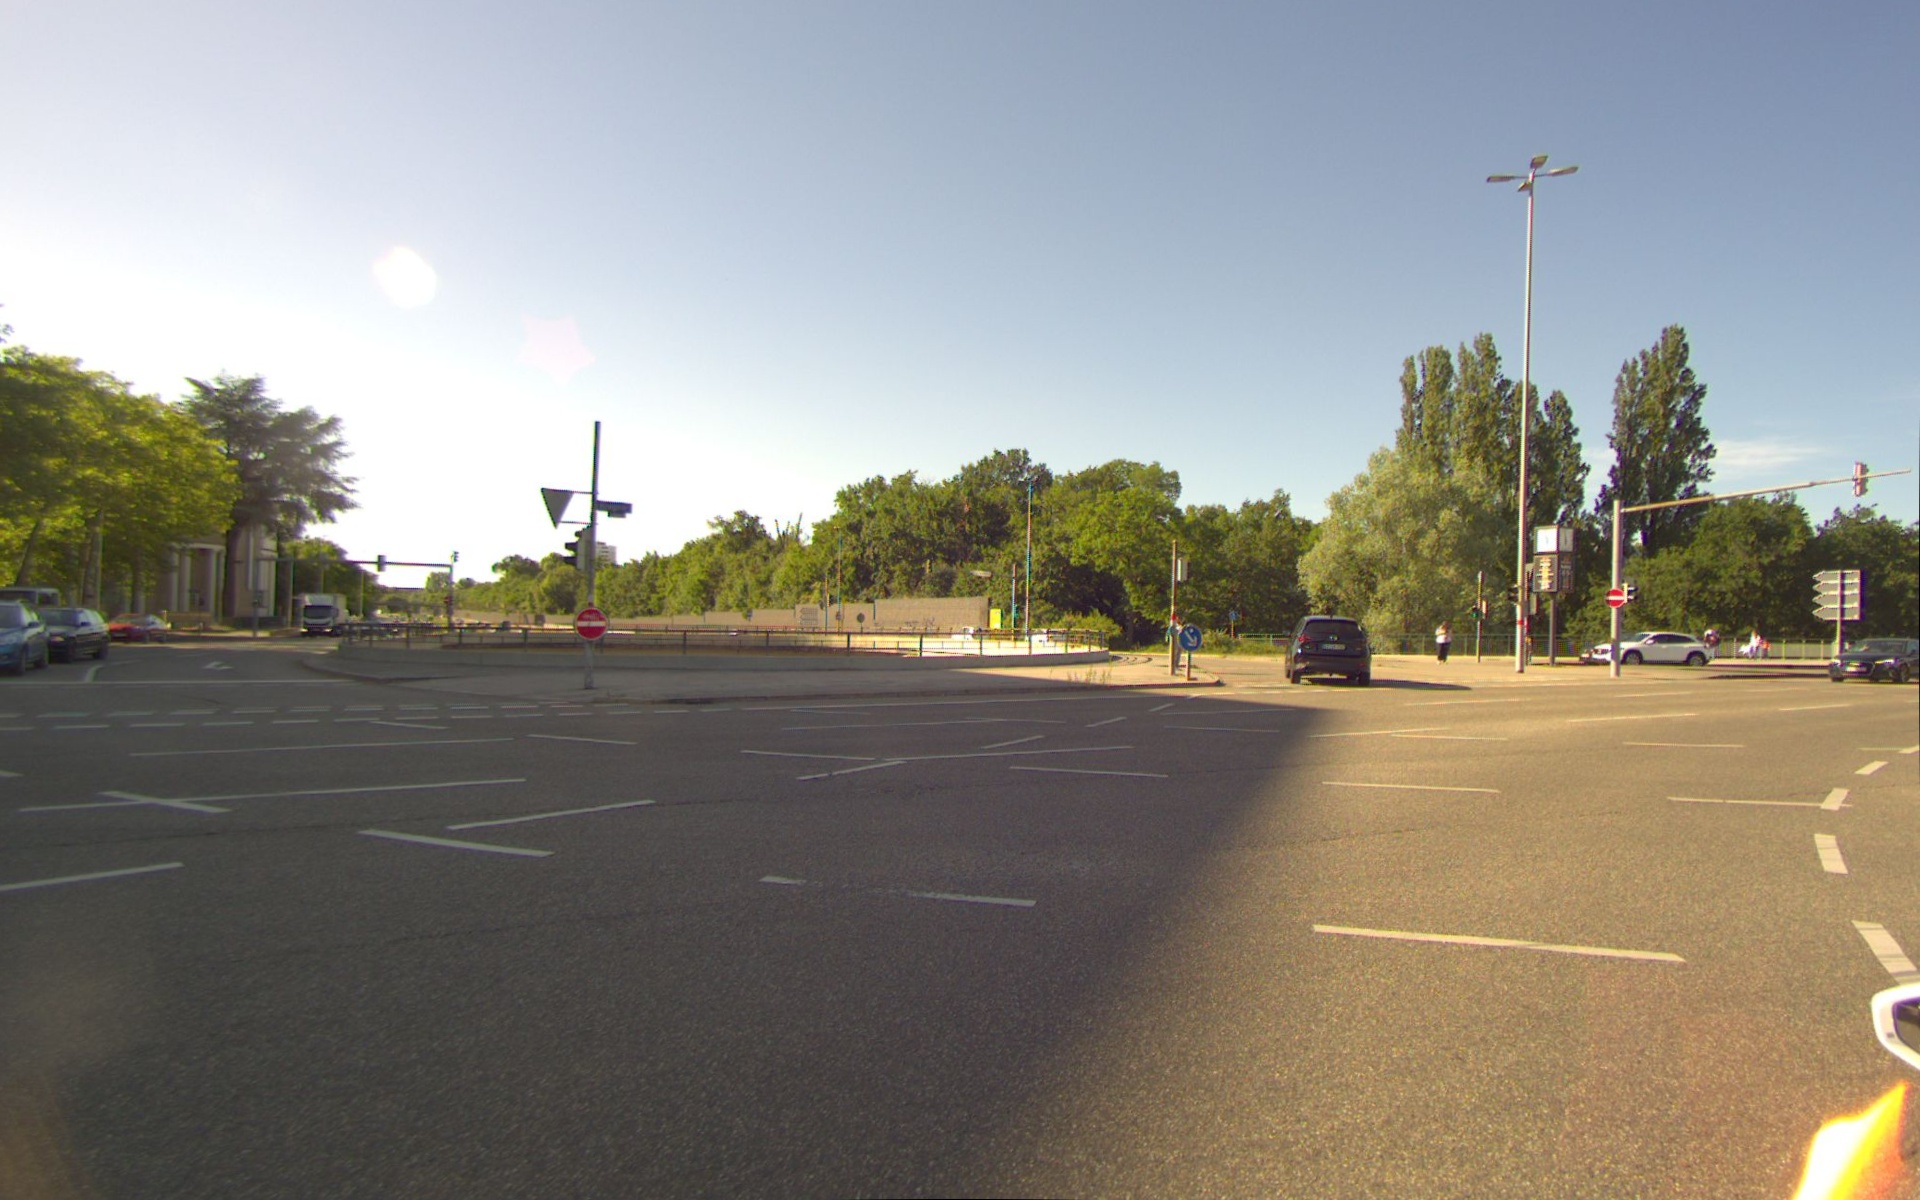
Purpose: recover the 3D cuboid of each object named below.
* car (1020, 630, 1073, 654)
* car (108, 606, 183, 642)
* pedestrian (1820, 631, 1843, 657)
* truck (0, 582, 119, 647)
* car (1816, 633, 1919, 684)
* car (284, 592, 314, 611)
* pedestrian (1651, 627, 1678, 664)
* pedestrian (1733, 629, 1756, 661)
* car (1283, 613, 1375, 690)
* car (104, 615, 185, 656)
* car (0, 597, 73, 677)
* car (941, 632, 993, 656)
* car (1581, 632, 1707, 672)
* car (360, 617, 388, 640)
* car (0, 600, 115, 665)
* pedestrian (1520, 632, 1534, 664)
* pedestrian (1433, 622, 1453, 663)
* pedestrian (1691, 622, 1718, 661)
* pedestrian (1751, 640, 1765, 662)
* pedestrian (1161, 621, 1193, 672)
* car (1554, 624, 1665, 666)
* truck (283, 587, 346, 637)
[{"bbox_3d":[5.390,2.596,63.089,1.759,1.433,4.300,2,-2,-19],"label":"car"},{"bbox_3d":[-40.803,1.179,50.440,1.789,1.722,4.173,2,-1,-23],"label":"car"},{"bbox_3d":[52.519,2.663,60.510,0.765,1.522,0.671,4,-1,-9],"label":"pedestrian"},{"bbox_3d":[-37.204,0.547,40.760,2.131,2.391,7.482,2,-1,-19],"label":"truck"},{"bbox_3d":[29.150,1.810,31.840,3.955,1.527,1.927,2,-2,-31],"label":"car"},{"bbox_3d":[-62.235,0.099,94.574,1.801,1.722,4.147,2,-1,-41],"label":"car"},{"bbox_3d":[38.277,2.452,54.582,0.777,1.942,0.834,4,-1,-24],"label":"pedestrian"},{"bbox_3d":[43.262,2.471,55.399,0.663,1.663,0.718,4,-1,-23],"label":"pedestrian"},{"bbox_3d":[9.246,1.243,25.462,1.842,1.731,4.198,1,-1,16],"label":"car"},{"bbox_3d":[-29.341,1.251,36.248,1.766,1.353,4.047,2,-1,-32],"label":"car"},{"bbox_3d":[-20.570,0.723,21.260,1.930,1.561,4.419,2,-1,-32],"label":"car"},{"bbox_3d":[0.431,2.967,68.290,1.974,1.528,3.973,1,-1,-26],"label":"car"},{"bbox_3d":[29.712,2.239,43.729,4.243,1.556,1.785,1,0,0],"label":"car"},{"bbox_3d":[-49.610,2.423,85.072,1.719,1.706,4.022,4,-1,-27],"label":"car"},{"bbox_3d":[-23.819,0.811,26.310,1.930,1.561,4.419,2,-1,-32],"label":"car"},{"bbox_3d":[28.411,2.418,50.336,0.547,1.568,0.576,0,-2,26],"label":"pedestrian"},{"bbox_3d":[18.581,1.628,38.650,0.698,1.568,0.728,1,-1,26],"label":"pedestrian"},{"bbox_3d":[39.909,2.232,53.868,0.777,2.023,0.804,4,-1,-24],"label":"pedestrian"},{"bbox_3d":[43.548,2.773,54.786,0.392,1.151,0.422,4,-1,-23],"label":"pedestrian"},{"bbox_3d":[6.411,1.365,29.695,0.670,1.482,0.700,1,-1,35],"label":"pedestrian"},{"bbox_3d":[30.609,2.103,47.440,3.920,1.646,1.902,4,-1,3],"label":"car"},{"bbox_3d":[-53.969,0.937,84.186,3.808,3.847,9.269,1,0,-30],"label":"truck"}]
